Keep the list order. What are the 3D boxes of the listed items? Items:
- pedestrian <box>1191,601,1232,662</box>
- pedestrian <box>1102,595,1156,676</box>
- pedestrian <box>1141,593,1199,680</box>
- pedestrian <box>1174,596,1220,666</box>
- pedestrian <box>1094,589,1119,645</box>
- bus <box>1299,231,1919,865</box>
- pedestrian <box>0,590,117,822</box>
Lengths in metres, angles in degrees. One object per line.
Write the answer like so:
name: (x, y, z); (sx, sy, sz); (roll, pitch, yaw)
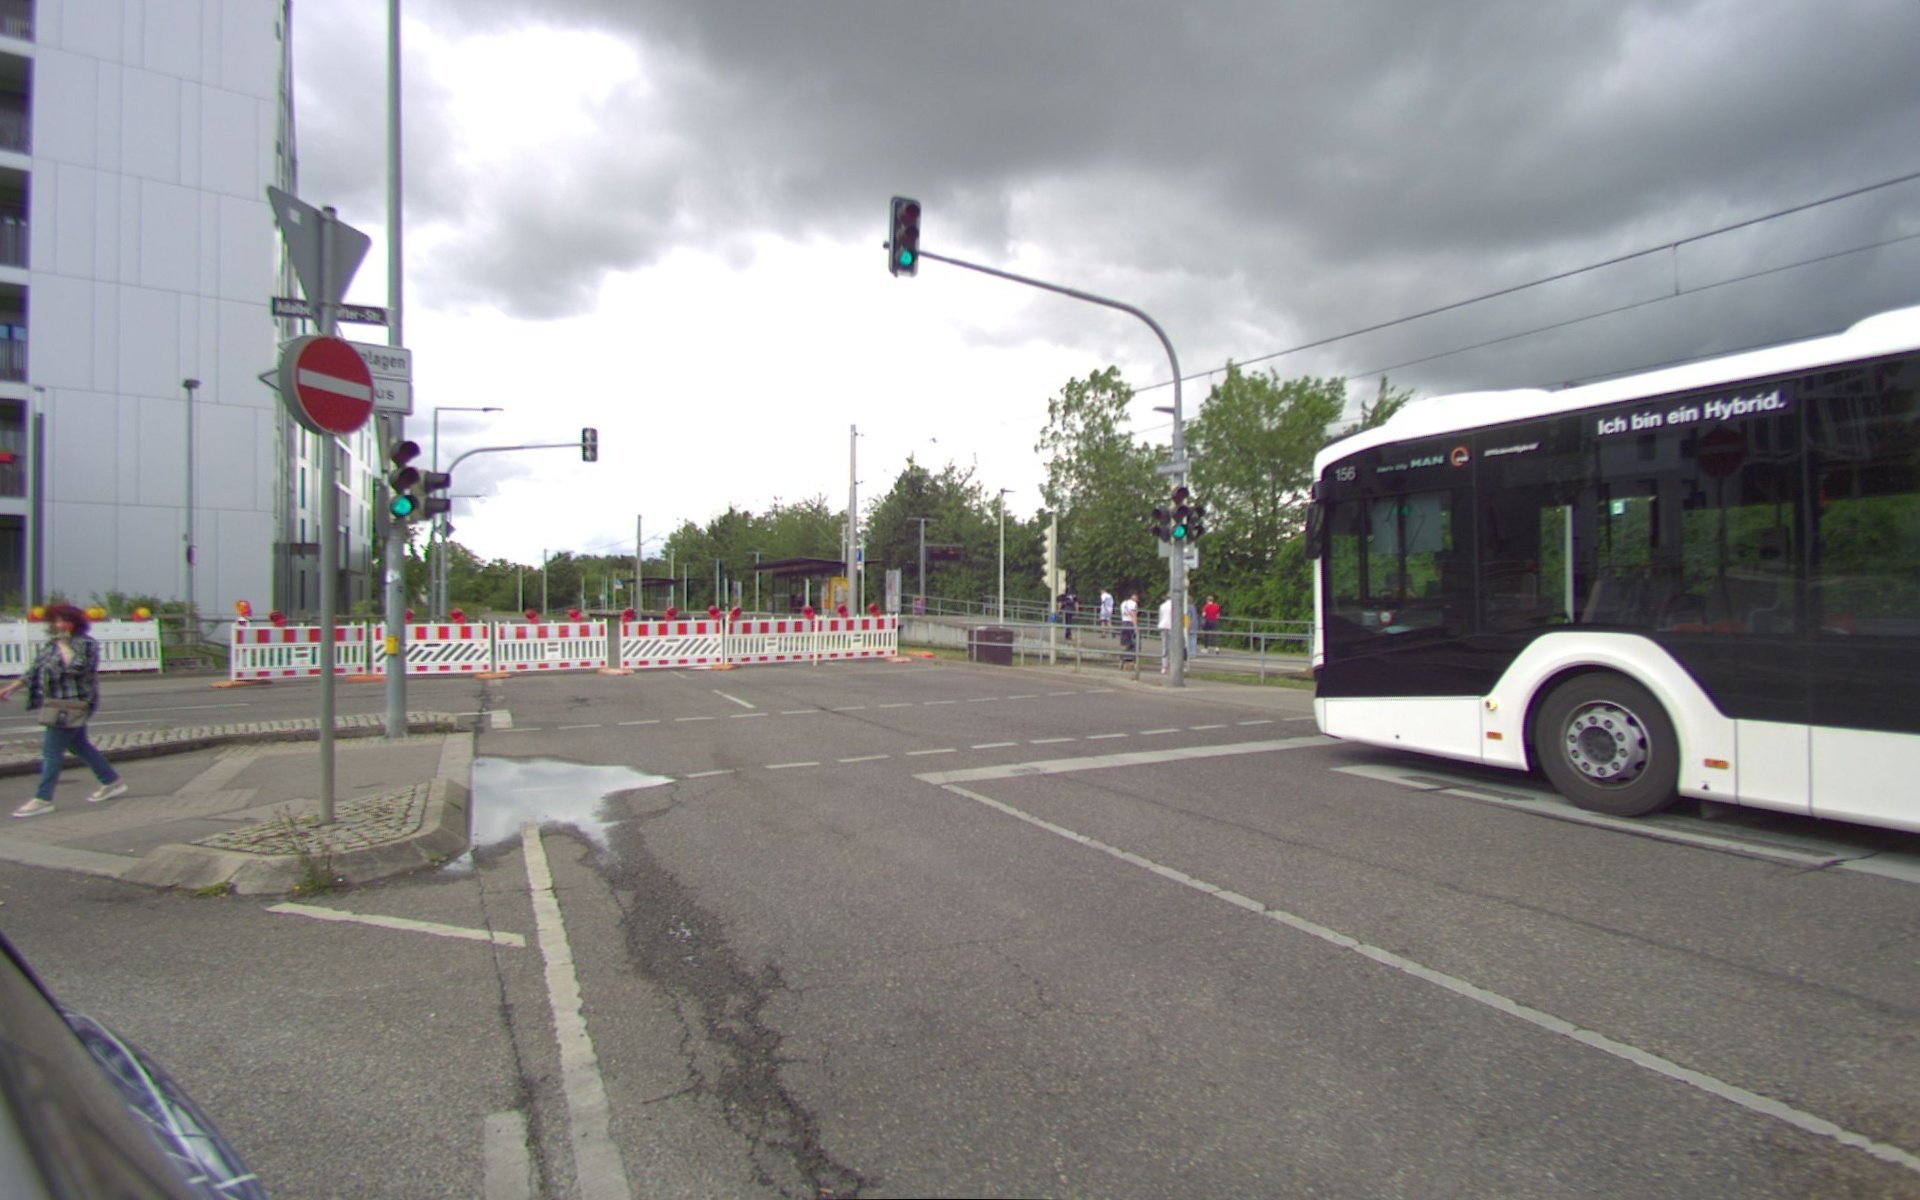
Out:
pedestrian: (6.802, 0.844, 27.398); (0.791, 1.633, 0.725); (0, 0, -26)
pedestrian: (3.724, 0.767, 22.302); (0.941, 1.761, 0.725); (0, 0, -20)
pedestrian: (4.386, 0.746, 21.147); (0.941, 1.761, 0.725); (0, 0, -20)
pedestrian: (6.149, 0.790, 26.267); (0.710, 1.761, 0.960); (0, 0, -28)
pedestrian: (4.659, 0.535, 32.140); (0.715, 1.761, 0.953); (0, 0, 14)
bus: (6.845, -0.265, 4.090); (2.628, 3.227, 12.240); (0, 0, -25)
pedestrian: (-6.567, 0.723, 7.298); (0.721, 1.579, 0.694); (0, 0, -38)
